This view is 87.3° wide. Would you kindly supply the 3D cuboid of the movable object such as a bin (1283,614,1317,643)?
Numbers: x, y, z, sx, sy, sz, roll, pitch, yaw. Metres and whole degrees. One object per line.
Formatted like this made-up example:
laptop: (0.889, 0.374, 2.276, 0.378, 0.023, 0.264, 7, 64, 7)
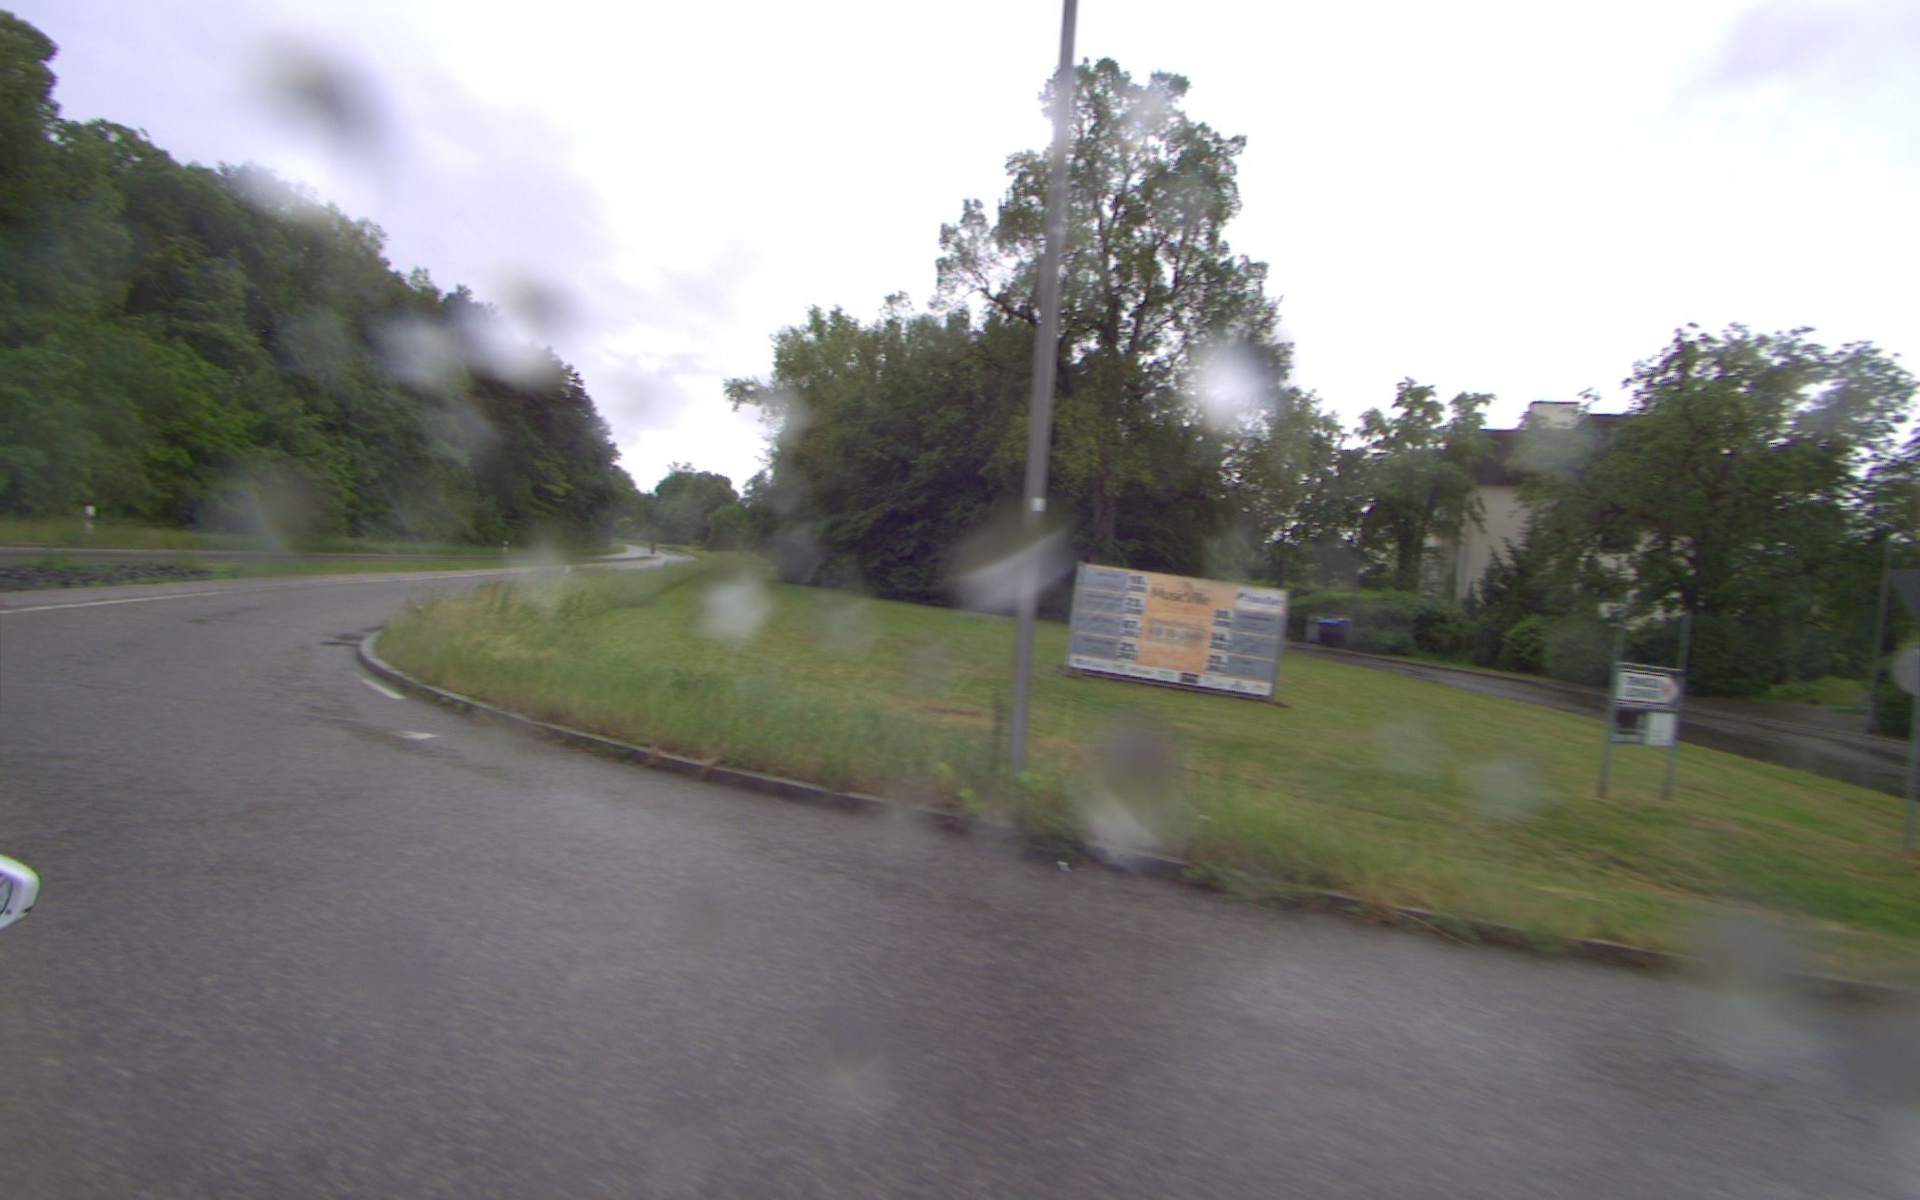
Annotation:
movable object such as a bin: (18.945, 1.597, 56.155, 1.177, 1.455, 1.426, 6, 1, -6)
